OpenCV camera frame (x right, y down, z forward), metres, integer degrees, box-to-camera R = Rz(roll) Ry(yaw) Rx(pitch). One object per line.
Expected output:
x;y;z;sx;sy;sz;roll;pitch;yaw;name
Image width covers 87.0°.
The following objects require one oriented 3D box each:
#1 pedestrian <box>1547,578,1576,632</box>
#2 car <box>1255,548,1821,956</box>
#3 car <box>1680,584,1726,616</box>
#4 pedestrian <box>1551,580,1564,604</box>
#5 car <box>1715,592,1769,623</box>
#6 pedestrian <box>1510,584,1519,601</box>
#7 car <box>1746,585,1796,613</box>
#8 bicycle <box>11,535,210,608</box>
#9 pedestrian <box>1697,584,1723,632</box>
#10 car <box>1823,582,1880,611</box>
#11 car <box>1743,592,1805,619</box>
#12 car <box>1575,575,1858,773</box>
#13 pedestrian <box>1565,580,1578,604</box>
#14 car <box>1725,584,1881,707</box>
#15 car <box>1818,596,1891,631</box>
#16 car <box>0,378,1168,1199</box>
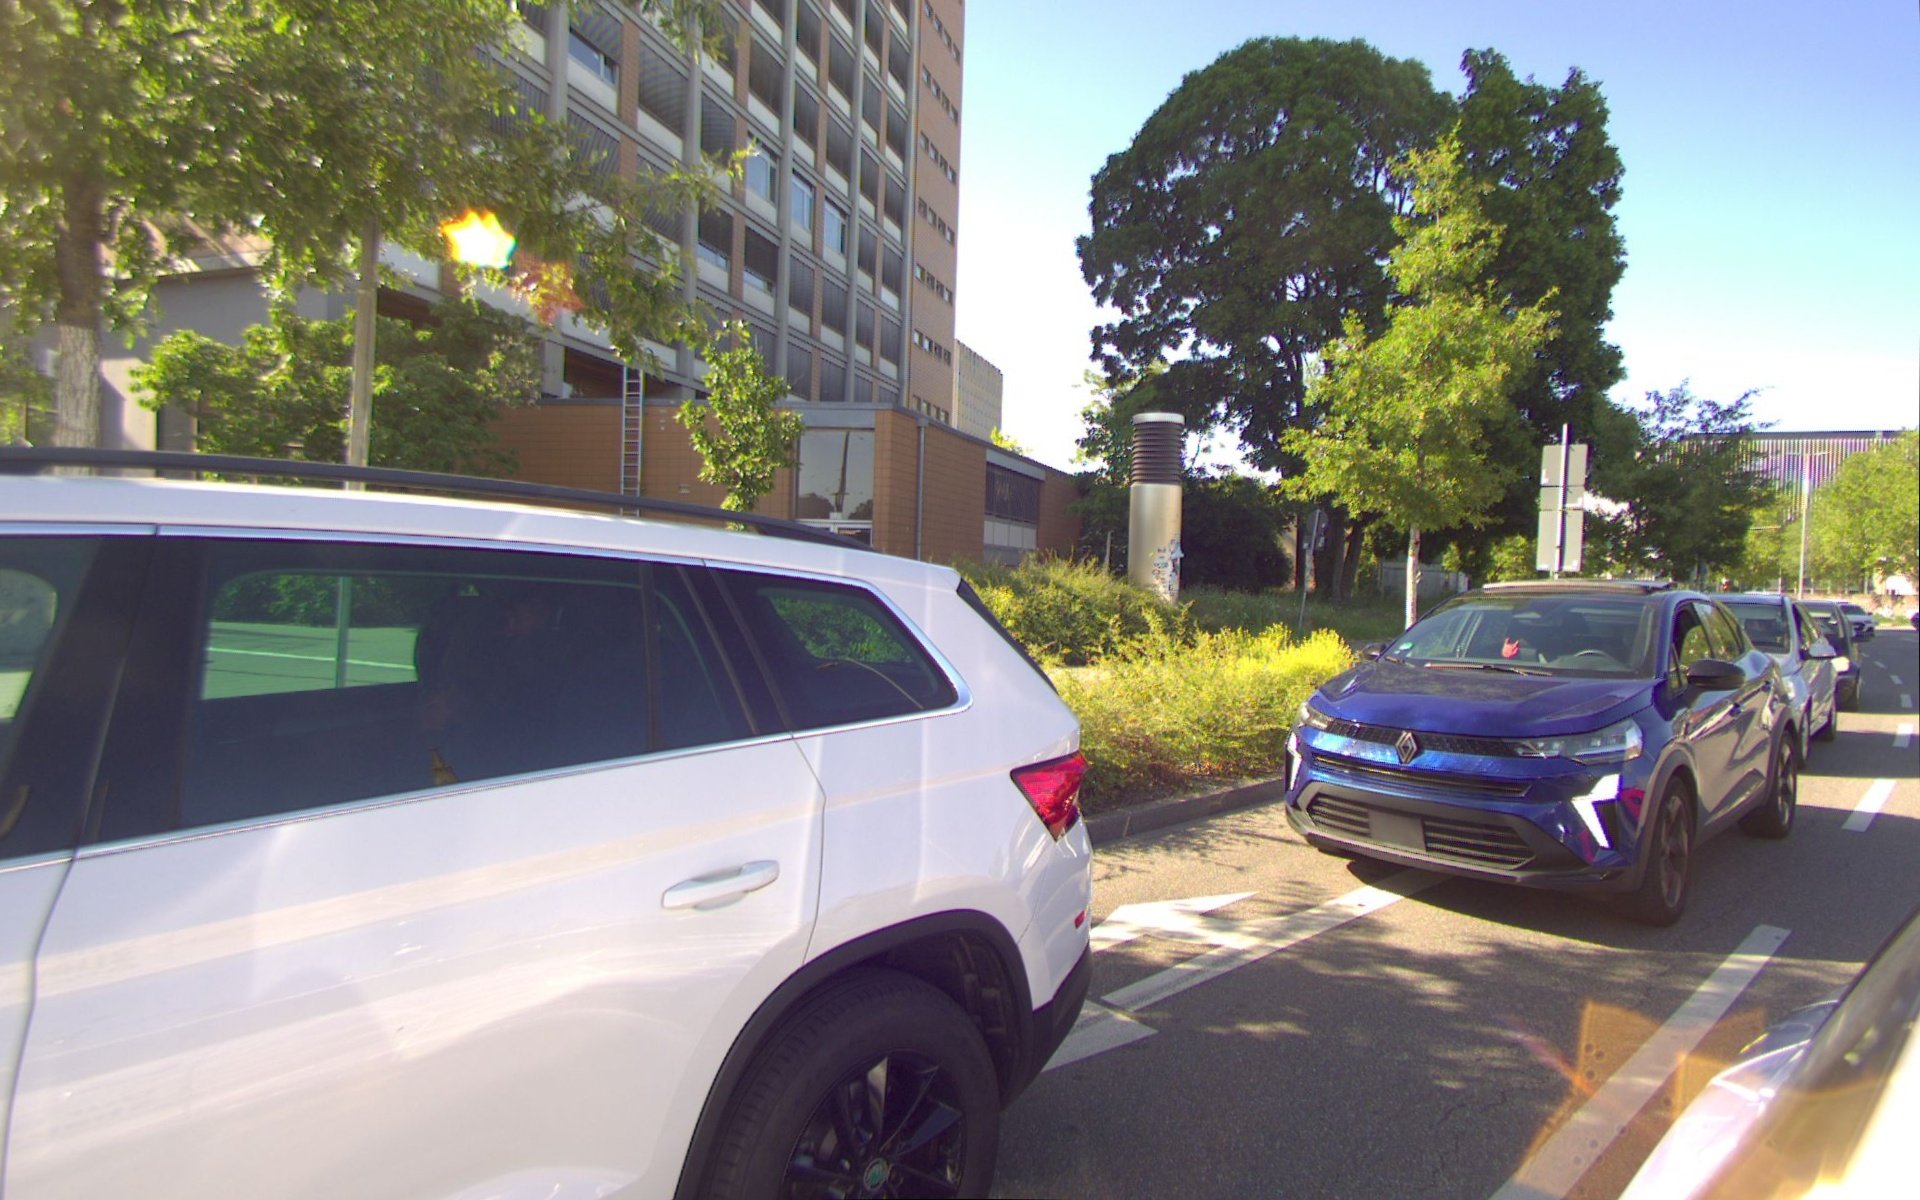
18.444;0.147;31.037;0.688;1.624;0.653;2;1;35;pedestrian
3.624;0.592;6.013;4.013;1.626;1.704;0;1;-41;car
46.134;-0.025;62.897;1.813;1.876;3.714;2;1;29;car
50.219;-0.679;85.068;0.813;1.941;0.765;0;0;25;pedestrian
39.577;0.335;51.297;1.738;1.494;3.536;0;1;30;car
62.095;-0.845;113.405;0.812;1.941;0.766;0;0;23;pedestrian
60.400;-0.094;75.430;1.767;2.039;4.201;1;1;22;car
-17.500;-0.577;20.991;0.790;1.394;3.111;2;1;26;bicycle
26.235;0.266;35.393;0.658;1.624;0.683;2;1;38;pedestrian
53.801;-0.221;61.140;1.578;1.625;3.049;2;1;22;car
47.007;0.293;58.521;1.862;1.500;3.967;1;1;24;car
8.032;0.613;10.605;3.977;1.645;1.782;0;2;-45;car
50.979;-0.674;84.417;0.813;1.941;0.765;0;0;25;pedestrian
13.109;0.615;15.674;1.646;1.631;3.435;3;2;43;car
38.591;0.533;43.737;1.739;1.396;3.534;1;1;32;car
-1.639;0.569;1.658;4.223;1.662;1.697;0;2;-42;car
